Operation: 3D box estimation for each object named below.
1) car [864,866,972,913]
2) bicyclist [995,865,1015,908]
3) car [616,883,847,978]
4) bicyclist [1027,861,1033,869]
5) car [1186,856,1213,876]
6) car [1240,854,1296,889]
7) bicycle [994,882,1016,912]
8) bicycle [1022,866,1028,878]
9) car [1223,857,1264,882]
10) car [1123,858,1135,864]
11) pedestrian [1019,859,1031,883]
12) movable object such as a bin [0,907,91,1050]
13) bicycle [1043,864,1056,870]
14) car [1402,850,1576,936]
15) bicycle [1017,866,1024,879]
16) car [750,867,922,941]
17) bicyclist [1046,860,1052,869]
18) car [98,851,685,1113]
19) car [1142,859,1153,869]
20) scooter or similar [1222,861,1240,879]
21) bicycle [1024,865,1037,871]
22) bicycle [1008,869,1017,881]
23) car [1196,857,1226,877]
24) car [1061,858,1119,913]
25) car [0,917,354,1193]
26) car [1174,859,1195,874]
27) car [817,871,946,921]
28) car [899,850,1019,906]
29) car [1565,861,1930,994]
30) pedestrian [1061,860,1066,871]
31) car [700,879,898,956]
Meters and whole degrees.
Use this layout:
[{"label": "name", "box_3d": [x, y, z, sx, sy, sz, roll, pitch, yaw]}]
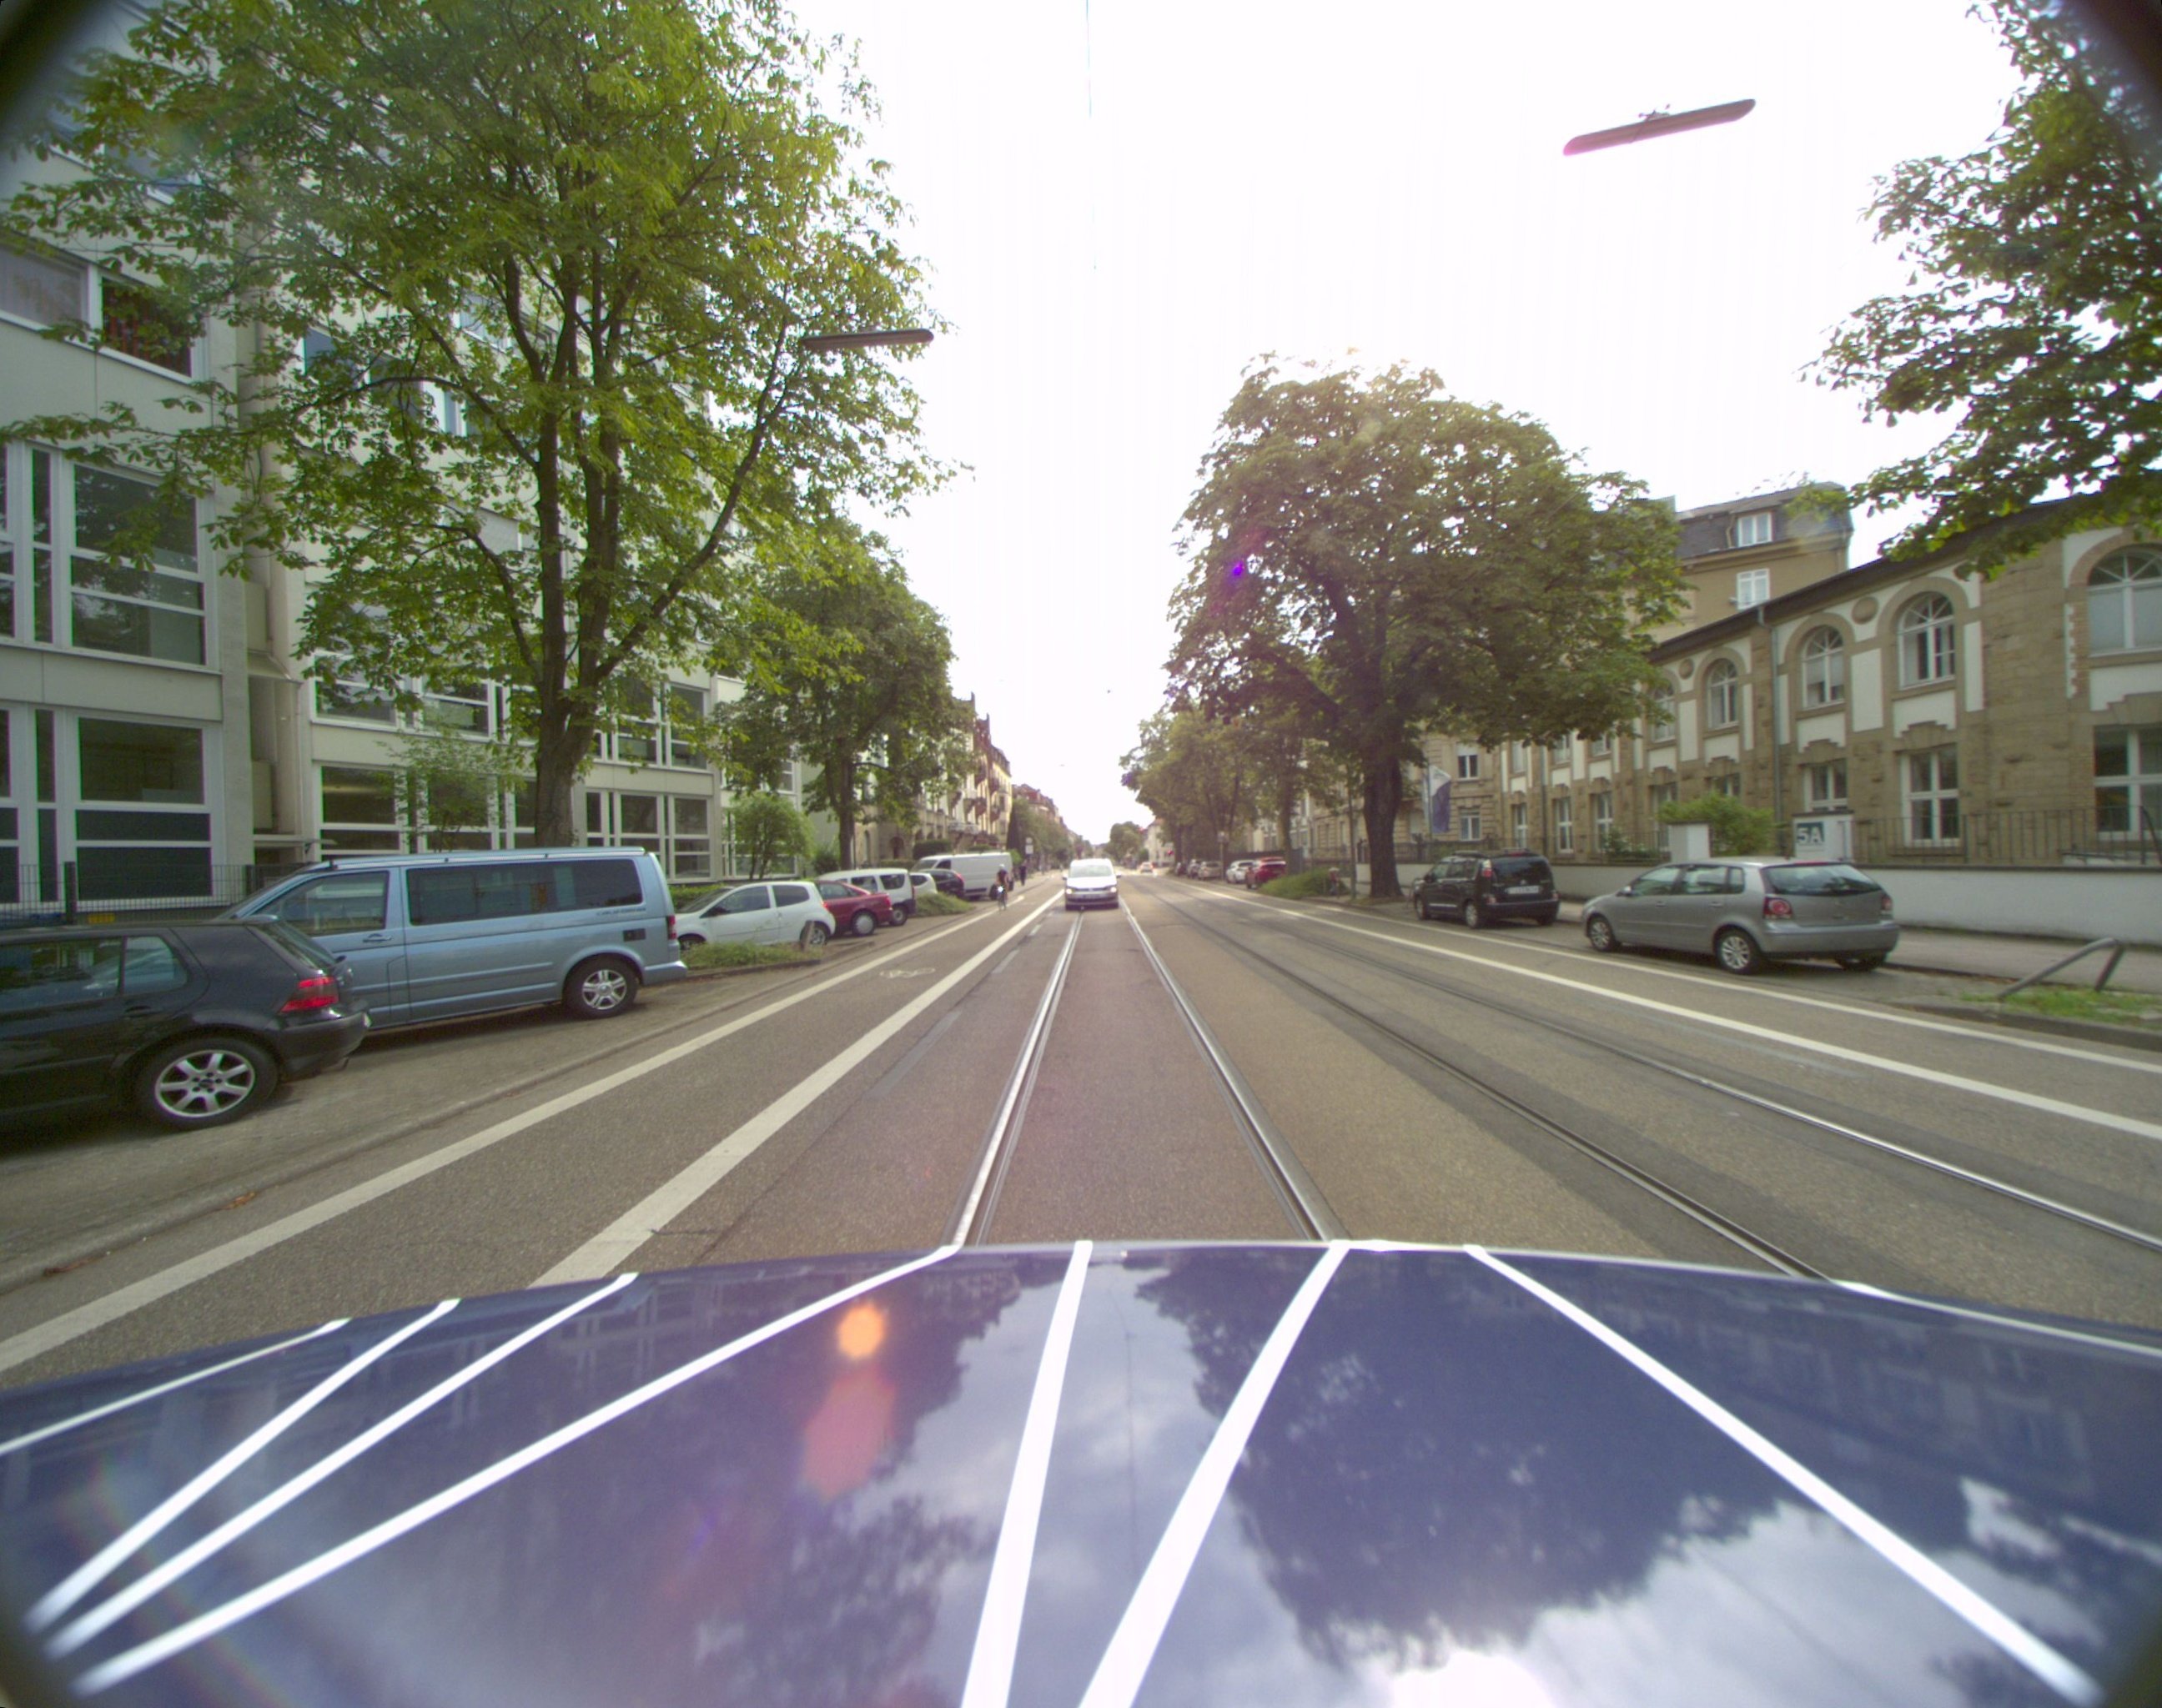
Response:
[{"label": "car", "box_3d": [-6.615, 1.387, 31.067, 3.968, 1.639, 1.685, -2, 0, -43]}, {"label": "bicyclist", "box_3d": [-2.804, 1.177, 28.065, 0.640, 1.561, 1.110, -1, 0, -1]}, {"label": "car", "box_3d": [-6.759, 1.388, 14.934, 3.723, 1.424, 1.685, -2, 0, -43]}, {"label": "bicyclist", "box_3d": [-8.585, 1.869, 127.767, 0.709, 1.421, 0.616, -2, 0, 32]}, {"label": "car", "box_3d": [10.352, 1.063, 66.747, 1.714, 1.663, 4.357, -2, 0, 1]}, {"label": "car", "box_3d": [9.770, 0.871, 40.055, 1.725, 1.645, 4.542, -4, 0, 0]}, {"label": "bicycle", "box_3d": [-2.800, 1.562, 28.072, 0.640, 0.975, 2.071, -1, 0, -1]}, {"label": "bicycle", "box_3d": [-5.106, 1.650, 69.217, 0.392, 1.096, 1.759, 0, 0, 2]}, {"label": "car", "box_3d": [10.379, 0.969, 48.809, 1.725, 1.415, 4.023, -4, 0, 0]}, {"label": "car", "box_3d": [16.472, 2.330, 258.681, 3.996, 1.716, 1.877, -3, 0, 4]}, {"label": "pedestrian", "box_3d": [-4.121, 1.212, 55.646, 0.787, 1.722, 0.896, 1, 0, 1]}, {"label": "movable object such as a bin", "box_3d": [-12.174, 1.386, 8.243, 1.072, 1.499, 1.323, -3, 0, 2]}, {"label": "bicycle", "box_3d": [-5.351, 2.220, 127.779, 2.194, 1.019, 0.616, -2, 0, 29]}, {"label": "car", "box_3d": [9.027, 0.795, 17.239, 1.760, 1.637, 4.052, -3, 0, 1]}, {"label": "bicycle", "box_3d": [-5.277, 1.588, 66.505, 0.392, 1.135, 1.921, 0, 0, 2]}, {"label": "car", "box_3d": [-6.633, 1.295, 20.871, 4.117, 1.658, 1.685, -2, 0, -44]}, {"label": "bicyclist", "box_3d": [-5.386, 1.771, 127.798, 0.772, 1.357, 0.616, -2, 0, 29]}, {"label": "car", "box_3d": [-6.957, 1.052, 8.270, 4.284, 2.003, 1.826, -2, 0, -43]}, {"label": "car", "box_3d": [9.334, 1.381, 106.457, 1.574, 1.407, 4.002, 0, 0, 5]}, {"label": "scooter or similar", "box_3d": [10.285, 1.077, 52.055, 0.563, 1.215, 1.321, -2, 0, -22]}, {"label": "bicycle", "box_3d": [-8.546, 2.354, 127.749, 2.194, 1.019, 0.616, -2, 0, 32]}, {"label": "bicycle", "box_3d": [-5.459, 1.646, 60.478, 0.487, 0.902, 1.665, -1, 0, 2]}, {"label": "car", "box_3d": [10.045, 0.984, 59.011, 1.604, 1.459, 4.079, -2, 0, 1]}, {"label": "car", "box_3d": [0.376, 1.020, 26.335, 1.767, 1.660, 4.330, -3, 0, 2]}, {"label": "car", "box_3d": [-7.299, 1.317, 4.779, 1.672, 1.451, 3.836, -2, 0, 45]}, {"label": "car", "box_3d": [10.683, 1.241, 78.560, 1.724, 1.416, 4.167, -4, 0, 3]}, {"label": "car", "box_3d": [-7.108, 1.449, 27.342, 4.100, 1.502, 1.685, -2, 0, -43]}, {"label": "car", "box_3d": [-5.629, 1.054, 35.496, 4.968, 2.277, 2.378, -2, 0, -41]}, {"label": "car", "box_3d": [8.859, 0.859, 10.631, 1.697, 1.419, 3.868, -3, 0, 1]}, {"label": "pedestrian", "box_3d": [-2.665, 1.785, 115.804, 0.721, 1.650, 0.759, 2, 0, -2]}, {"label": "car", "box_3d": [-6.578, 1.405, 17.965, 3.983, 1.424, 1.685, -2, 0, -41]}]
